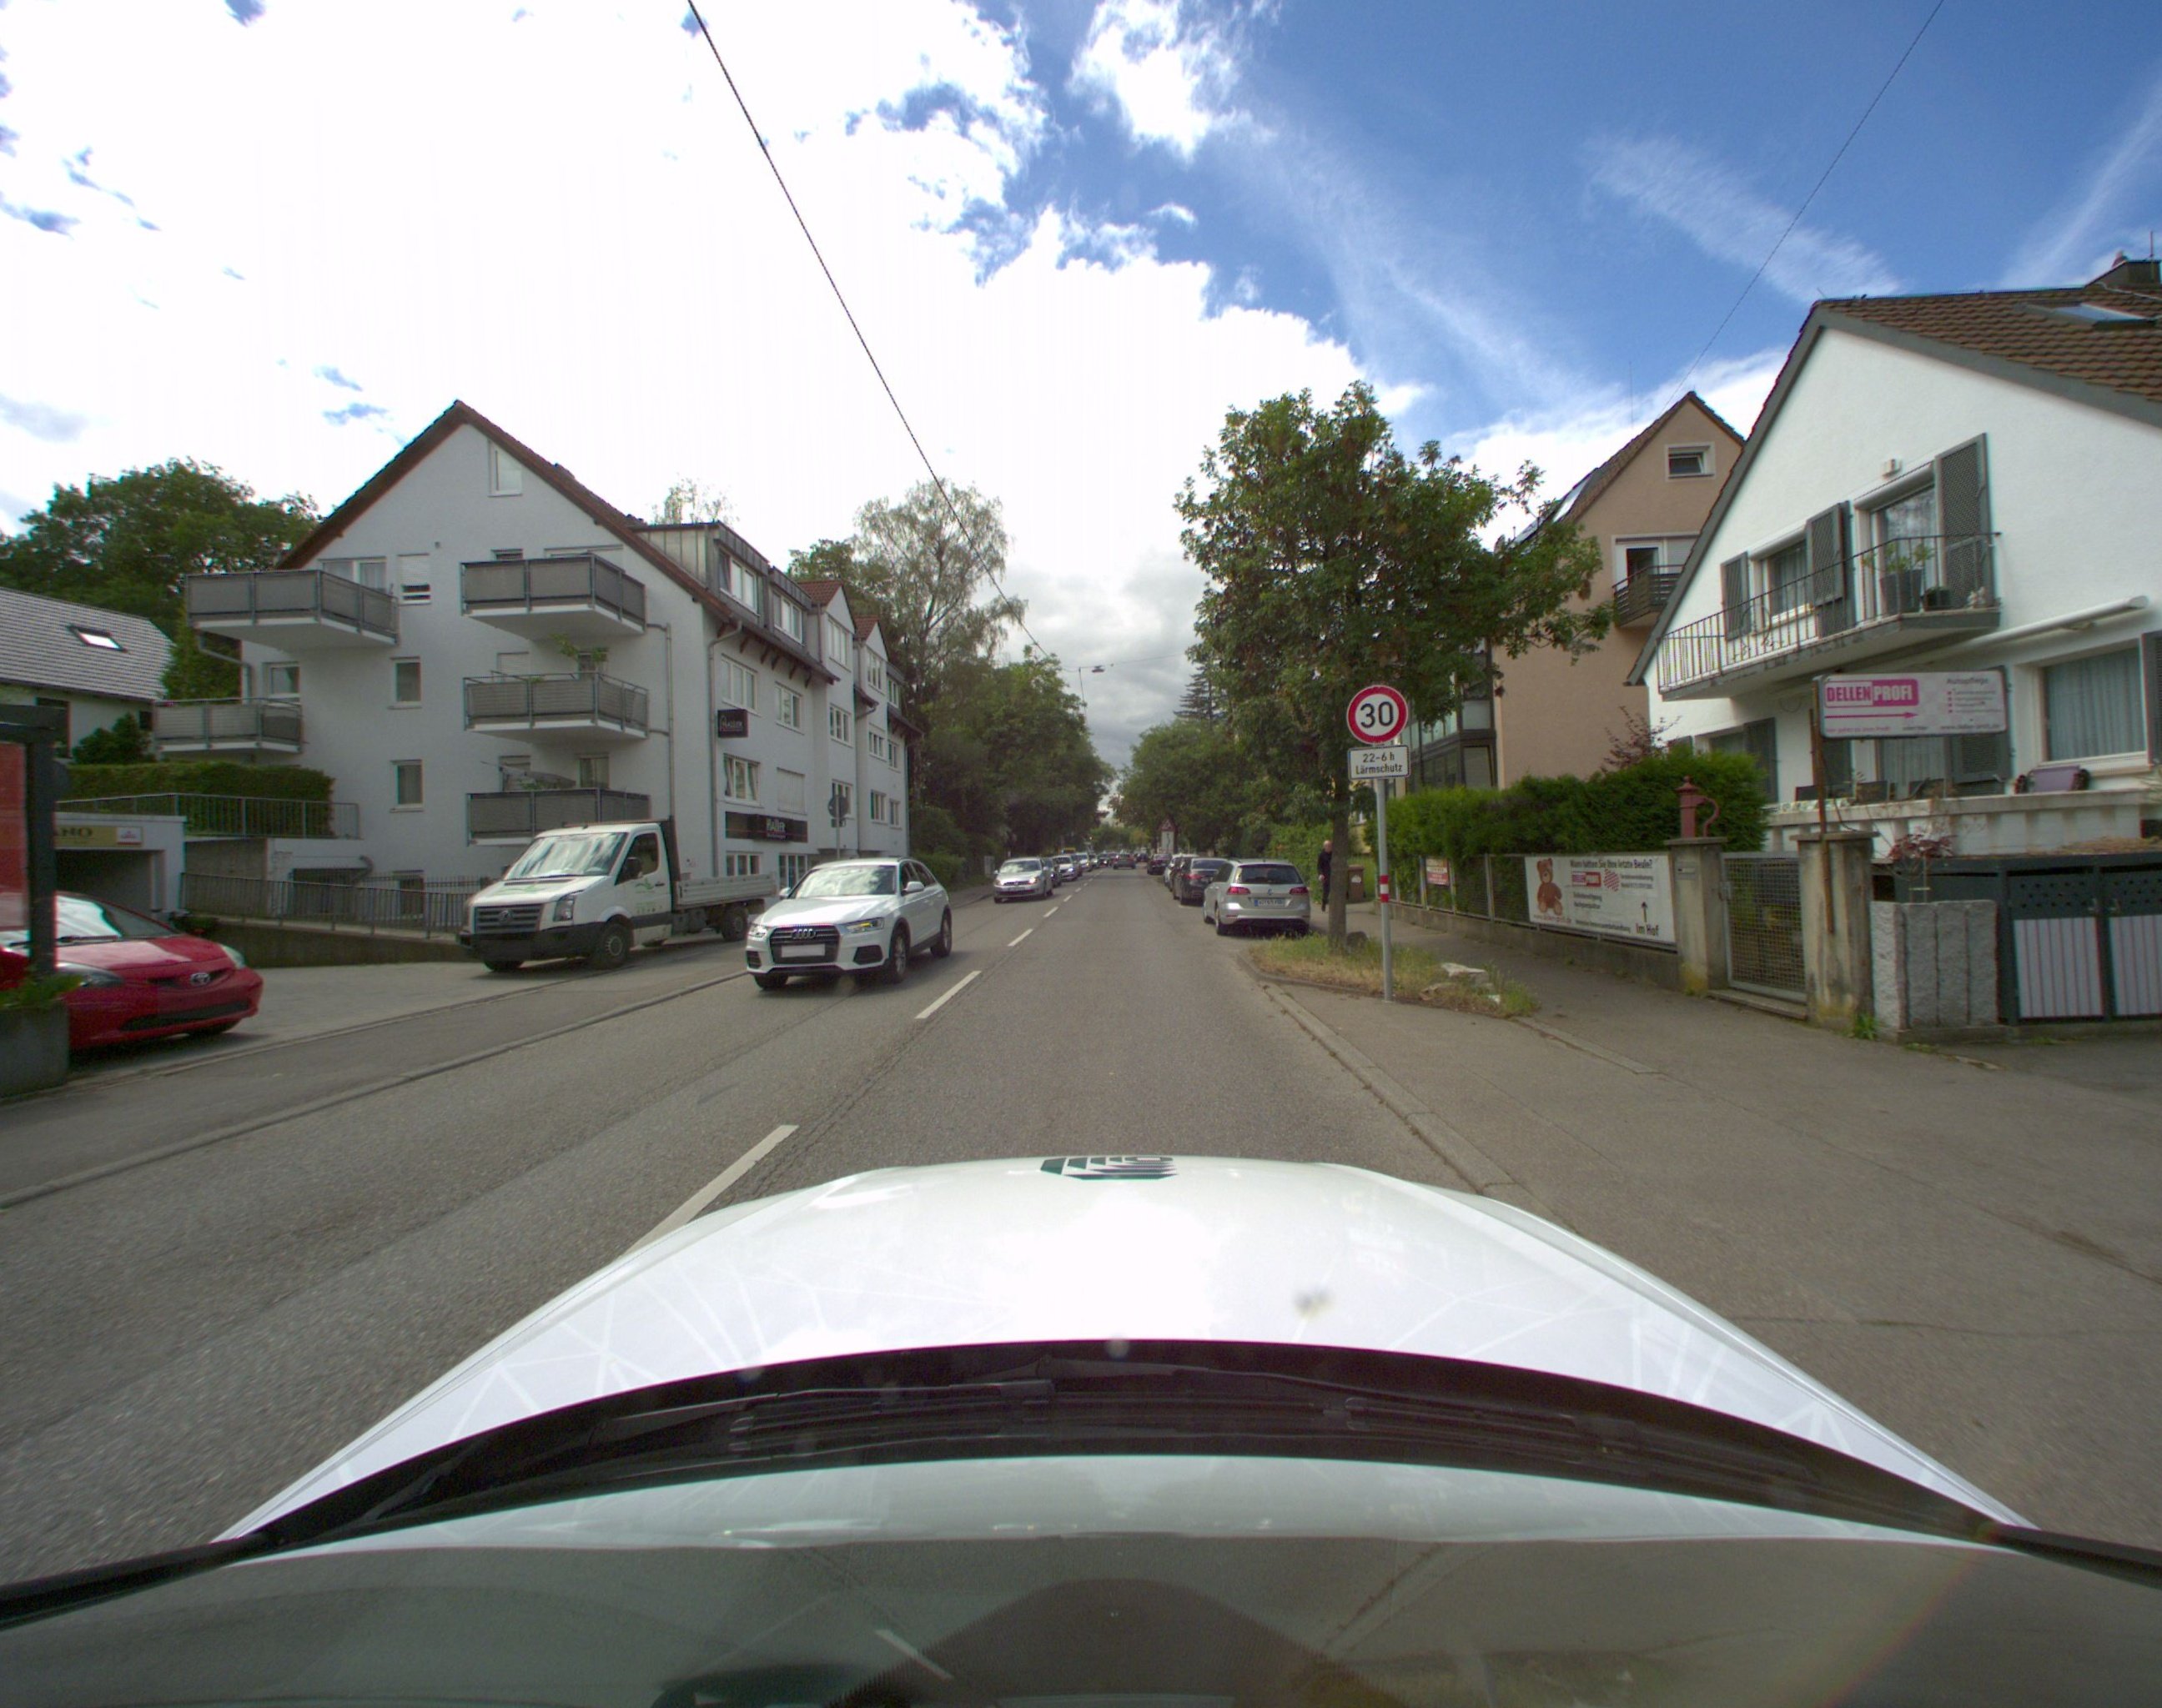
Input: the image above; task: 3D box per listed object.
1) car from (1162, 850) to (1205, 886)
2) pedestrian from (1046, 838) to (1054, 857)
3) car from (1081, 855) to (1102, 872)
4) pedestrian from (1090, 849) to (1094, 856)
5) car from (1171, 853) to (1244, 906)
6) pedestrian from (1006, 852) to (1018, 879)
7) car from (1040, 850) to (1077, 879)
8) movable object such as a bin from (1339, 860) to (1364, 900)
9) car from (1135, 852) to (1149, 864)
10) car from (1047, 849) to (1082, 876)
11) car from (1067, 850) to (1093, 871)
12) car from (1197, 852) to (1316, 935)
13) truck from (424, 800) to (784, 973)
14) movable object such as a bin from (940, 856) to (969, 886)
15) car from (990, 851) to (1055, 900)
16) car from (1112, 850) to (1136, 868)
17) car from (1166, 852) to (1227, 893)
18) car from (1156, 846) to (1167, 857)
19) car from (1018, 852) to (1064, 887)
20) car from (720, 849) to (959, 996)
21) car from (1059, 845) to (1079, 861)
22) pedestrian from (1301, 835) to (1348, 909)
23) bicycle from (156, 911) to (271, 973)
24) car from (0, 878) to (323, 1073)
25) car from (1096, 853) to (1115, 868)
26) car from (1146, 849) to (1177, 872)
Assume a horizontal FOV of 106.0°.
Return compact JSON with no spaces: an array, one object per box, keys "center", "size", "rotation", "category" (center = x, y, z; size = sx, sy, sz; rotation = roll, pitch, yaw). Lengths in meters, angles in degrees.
[{"center":[4.571,0.583,36.695],"size":[1.615,1.507,3.782],"rotation":[-2,0,3],"category":"car"},{"center":[-2.819,-0.603,74.654],"size":[0.712,1.762,1.121],"rotation":[-1,-1,-2],"category":"pedestrian"},{"center":[1.037,0.920,80.564],"size":[1.777,1.592,4.157],"rotation":[-3,0,3],"category":"car"},{"center":[2.322,-0.312,164.514],"size":[0.701,1.439,0.715],"rotation":[-1,-1,7],"category":"pedestrian"},{"center":[3.840,0.711,25.399],"size":[1.727,1.428,4.886],"rotation":[1,0,3],"category":"car"},{"center":[-4.256,0.710,50.160],"size":[0.651,1.667,0.931],"rotation":[-1,-1,-2],"category":"pedestrian"},{"center":[-1.231,0.567,46.044],"size":[1.753,1.439,3.973],"rotation":[-3,0,3],"category":"car"},{"center":[7.331,0.699,22.050],"size":[0.520,1.080,0.605],"rotation":[-1,-1,8],"category":"movable object such as a bin"},{"center":[8.206,0.501,108.628],"size":[1.807,1.501,4.272],"rotation":[0,0,5],"category":"car"},{"center":[-1.055,0.547,54.311],"size":[1.920,1.546,4.089],"rotation":[-5,0,3],"category":"car"},{"center":[-0.066,0.522,67.802],"size":[1.778,1.648,4.494],"rotation":[-3,0,3],"category":"car"},{"center":[3.475,0.698,16.958],"size":[1.694,1.480,4.876],"rotation":[0,0,3],"category":"car"},{"center":[-7.885,0.502,14.601],"size":[2.213,2.380,6.335],"rotation":[-1,-1,6],"category":"truck"},{"center":[-6.314,0.836,40.728],"size":[1.327,1.427,1.212],"rotation":[-1,-1,-4],"category":"movable object such as a bin"},{"center":[-1.968,0.688,28.794],"size":[1.721,1.502,4.378],"rotation":[-4,0,2],"category":"car"},{"center":[3.969,0.466,74.035],"size":[1.966,1.513,4.273],"rotation":[2,0,5],"category":"car"},{"center":[4.347,0.648,31.296],"size":[1.984,1.423,4.594],"rotation":[-2,0,4],"category":"car"},{"center":[15.291,-0.483,155.220],"size":[1.984,2.014,4.005],"rotation":[-1,-1,5],"category":"car"},{"center":[-1.865,0.728,38.962],"size":[1.703,1.455,4.289],"rotation":[-4,-1,2],"category":"car"},{"center":[-3.046,0.783,11.288],"size":[1.798,1.571,4.162],"rotation":[-3,0,3],"category":"car"},{"center":[-1.546,-0.134,110.707],"size":[2.135,1.981,4.938],"rotation":[-1,-1,6],"category":"car"},{"center":[5.804,0.432,19.453],"size":[0.876,1.712,0.843],"rotation":[-1,-1,4],"category":"pedestrian"},{"center":[-15.265,1.542,14.337],"size":[1.713,1.002,0.578],"rotation":[-3,-1,12],"category":"bicycle"},{"center":[-9.321,0.979,7.089],"size":[3.682,1.425,1.804],"rotation":[-1,0,-1],"category":"car"},{"center":[2.747,0.661,90.055],"size":[1.781,1.542,4.269],"rotation":[-3,0,5],"category":"car"},{"center":[5.446,0.434,55.553],"size":[1.794,1.445,4.889],"rotation":[1,0,2],"category":"car"}]
